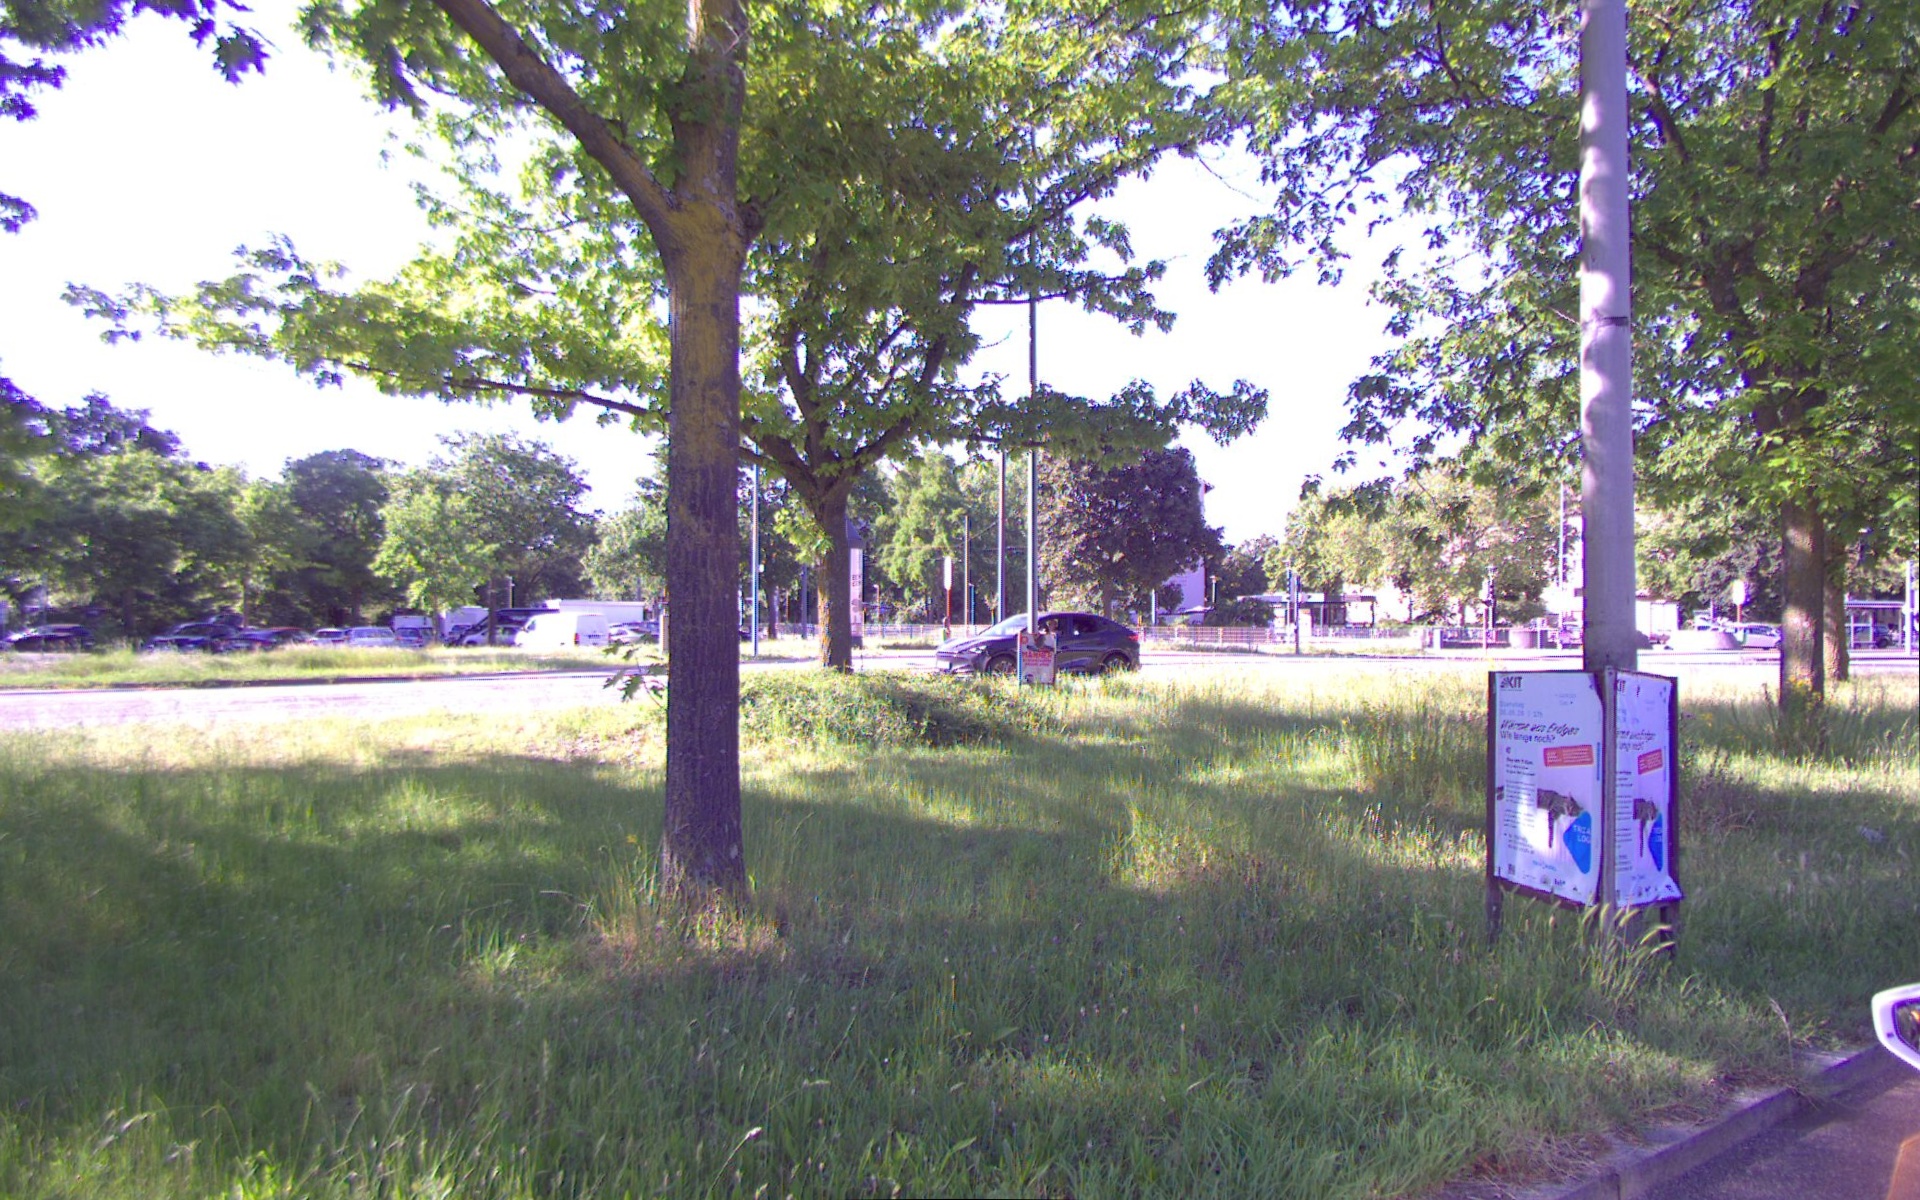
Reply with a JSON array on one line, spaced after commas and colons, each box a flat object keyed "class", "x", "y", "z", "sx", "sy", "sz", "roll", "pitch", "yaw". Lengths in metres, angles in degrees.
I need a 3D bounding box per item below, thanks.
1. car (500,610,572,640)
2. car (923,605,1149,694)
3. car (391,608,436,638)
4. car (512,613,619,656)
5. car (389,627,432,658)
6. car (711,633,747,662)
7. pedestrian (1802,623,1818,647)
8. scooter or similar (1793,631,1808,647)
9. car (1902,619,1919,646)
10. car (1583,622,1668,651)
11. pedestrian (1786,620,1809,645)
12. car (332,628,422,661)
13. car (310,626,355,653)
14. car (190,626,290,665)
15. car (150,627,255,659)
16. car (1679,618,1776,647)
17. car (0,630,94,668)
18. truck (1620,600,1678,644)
[{"class": "car", "x": -24.134, "y": 1.416, "z": 57.289, "sx": 3.698, "sy": 1.691, "sz": 1.883, "roll": 1, "pitch": -1, "yaw": -23}, {"class": "car", "x": 1.600, "y": 0.970, "z": 20.769, "sx": 4.405, "sy": 1.669, "sz": 1.819, "roll": 1, "pitch": -1, "yaw": -29}, {"class": "car", "x": -32.493, "y": 1.368, "z": 59.785, "sx": 1.865, "sy": 1.691, "sz": 3.733, "roll": 1, "pitch": -1, "yaw": -22}, {"class": "car", "x": -17.222, "y": 1.477, "z": 43.800, "sx": 4.670, "sy": 1.762, "sz": 2.024, "roll": 0, "pitch": -1, "yaw": 34}, {"class": "car", "x": -26.705, "y": 2.031, "z": 48.778, "sx": 1.602, "sy": 1.438, "sz": 3.050, "roll": 1, "pitch": -1, "yaw": -33}, {"class": "car", "x": -12.035, "y": 2.456, "z": 52.487, "sx": 1.589, "sy": 1.438, "sz": 3.073, "roll": 0, "pitch": -1, "yaw": -8}, {"class": "pedestrian", "x": 49.999, "y": 2.079, "z": 59.108, "sx": 0.614, "sy": 1.409, "sz": 0.416, "roll": 0, "pitch": -1, "yaw": -3}, {"class": "scooter or similar", "x": 49.420, "y": 2.287, "z": 59.077, "sx": 0.524, "sy": 0.939, "sz": 0.421, "roll": 0, "pitch": -1, "yaw": -4}, {"class": "car", "x": 71.929, "y": 2.395, "z": 73.405, "sx": 1.910, "sy": 2.040, "sz": 4.155, "roll": 1, "pitch": -1, "yaw": -31}, {"class": "car", "x": 41.413, "y": 2.249, "z": 62.568, "sx": 3.919, "sy": 1.706, "sz": 2.001, "roll": 0, "pitch": -1, "yaw": 9}, {"class": "pedestrian", "x": 53.742, "y": 2.088, "z": 64.449, "sx": 0.781, "sy": 1.629, "sz": 0.923, "roll": 0, "pitch": -1, "yaw": 9}, {"class": "car", "x": -21.829, "y": 1.636, "z": 37.634, "sx": 2.769, "sy": 1.171, "sz": 1.326, "roll": 1, "pitch": -1, "yaw": -40}, {"class": "car", "x": -29.298, "y": 1.827, "z": 46.864, "sx": 1.603, "sy": 1.194, "sz": 3.047, "roll": 1, "pitch": -1, "yaw": -35}, {"class": "car", "x": -25.236, "y": 1.565, "z": 35.243, "sx": 2.769, "sy": 1.323, "sz": 1.326, "roll": 1, "pitch": -1, "yaw": -40}, {"class": "car", "x": -26.846, "y": 1.506, "z": 35.628, "sx": 1.315, "sy": 1.078, "sz": 2.777, "roll": -1, "pitch": -1, "yaw": 42}, {"class": "car", "x": 46.903, "y": 1.964, "z": 61.468, "sx": 4.233, "sy": 1.706, "sz": 2.001, "roll": 0, "pitch": -1, "yaw": 9}, {"class": "car", "x": -47.663, "y": 2.500, "z": 51.902, "sx": 1.966, "sy": 1.817, "sz": 3.990, "roll": 0, "pitch": -1, "yaw": 32}, {"class": "truck", "x": 46.636, "y": 1.477, "z": 68.093, "sx": 1.960, "sy": 2.842, "sz": 4.002, "roll": 0, "pitch": -1, "yaw": 15}]
